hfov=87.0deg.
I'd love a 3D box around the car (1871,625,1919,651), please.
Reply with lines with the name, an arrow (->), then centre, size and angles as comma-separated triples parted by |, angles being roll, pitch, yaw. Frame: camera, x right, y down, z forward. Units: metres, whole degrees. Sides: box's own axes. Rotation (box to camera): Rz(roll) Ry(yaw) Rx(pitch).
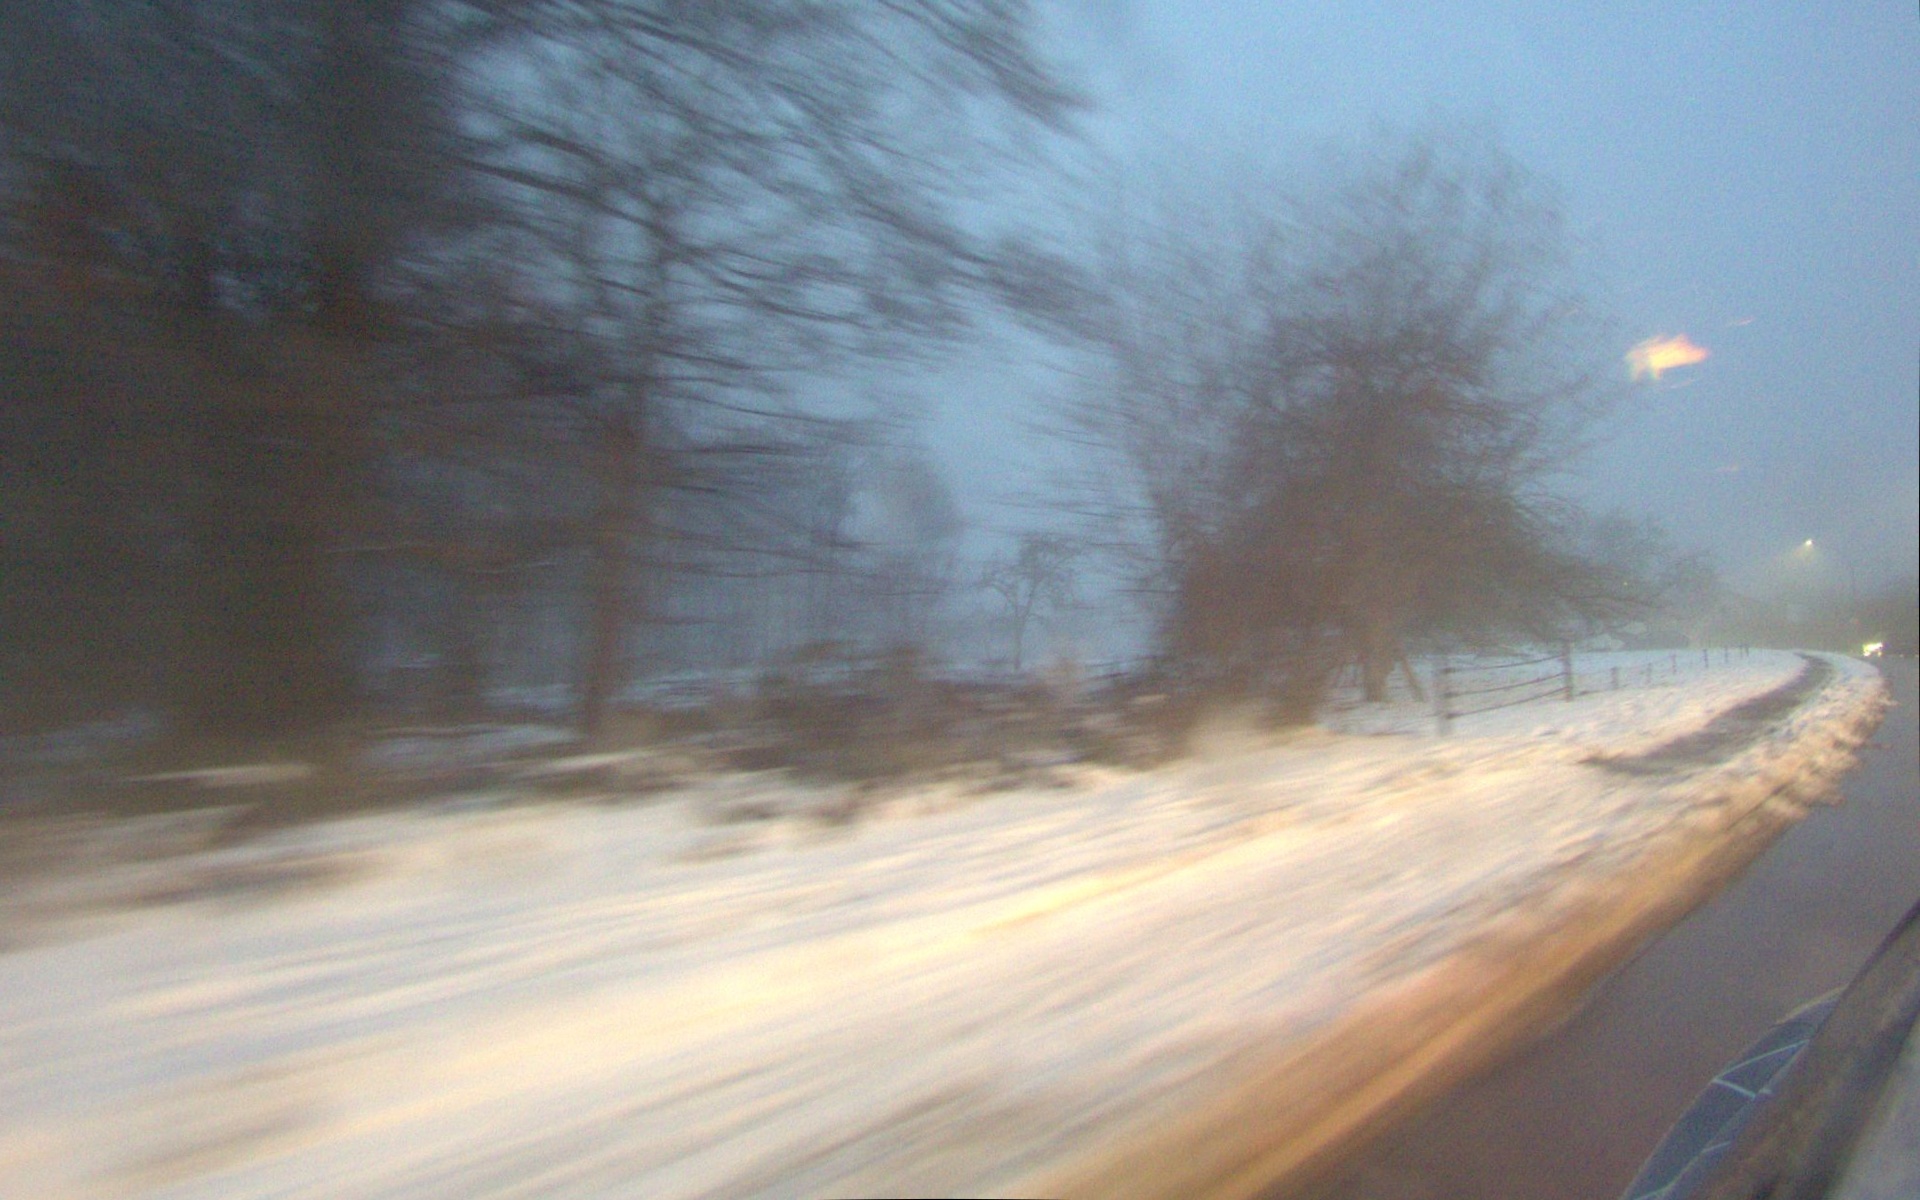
car -> 53.280, 2.164, 57.036 | 1.868, 1.445, 5.329 | -1, -3, 31

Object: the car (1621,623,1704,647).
car -> 47.163, 2.380, 68.077 | 4.430, 1.400, 2.011 | -5, -5, 33
